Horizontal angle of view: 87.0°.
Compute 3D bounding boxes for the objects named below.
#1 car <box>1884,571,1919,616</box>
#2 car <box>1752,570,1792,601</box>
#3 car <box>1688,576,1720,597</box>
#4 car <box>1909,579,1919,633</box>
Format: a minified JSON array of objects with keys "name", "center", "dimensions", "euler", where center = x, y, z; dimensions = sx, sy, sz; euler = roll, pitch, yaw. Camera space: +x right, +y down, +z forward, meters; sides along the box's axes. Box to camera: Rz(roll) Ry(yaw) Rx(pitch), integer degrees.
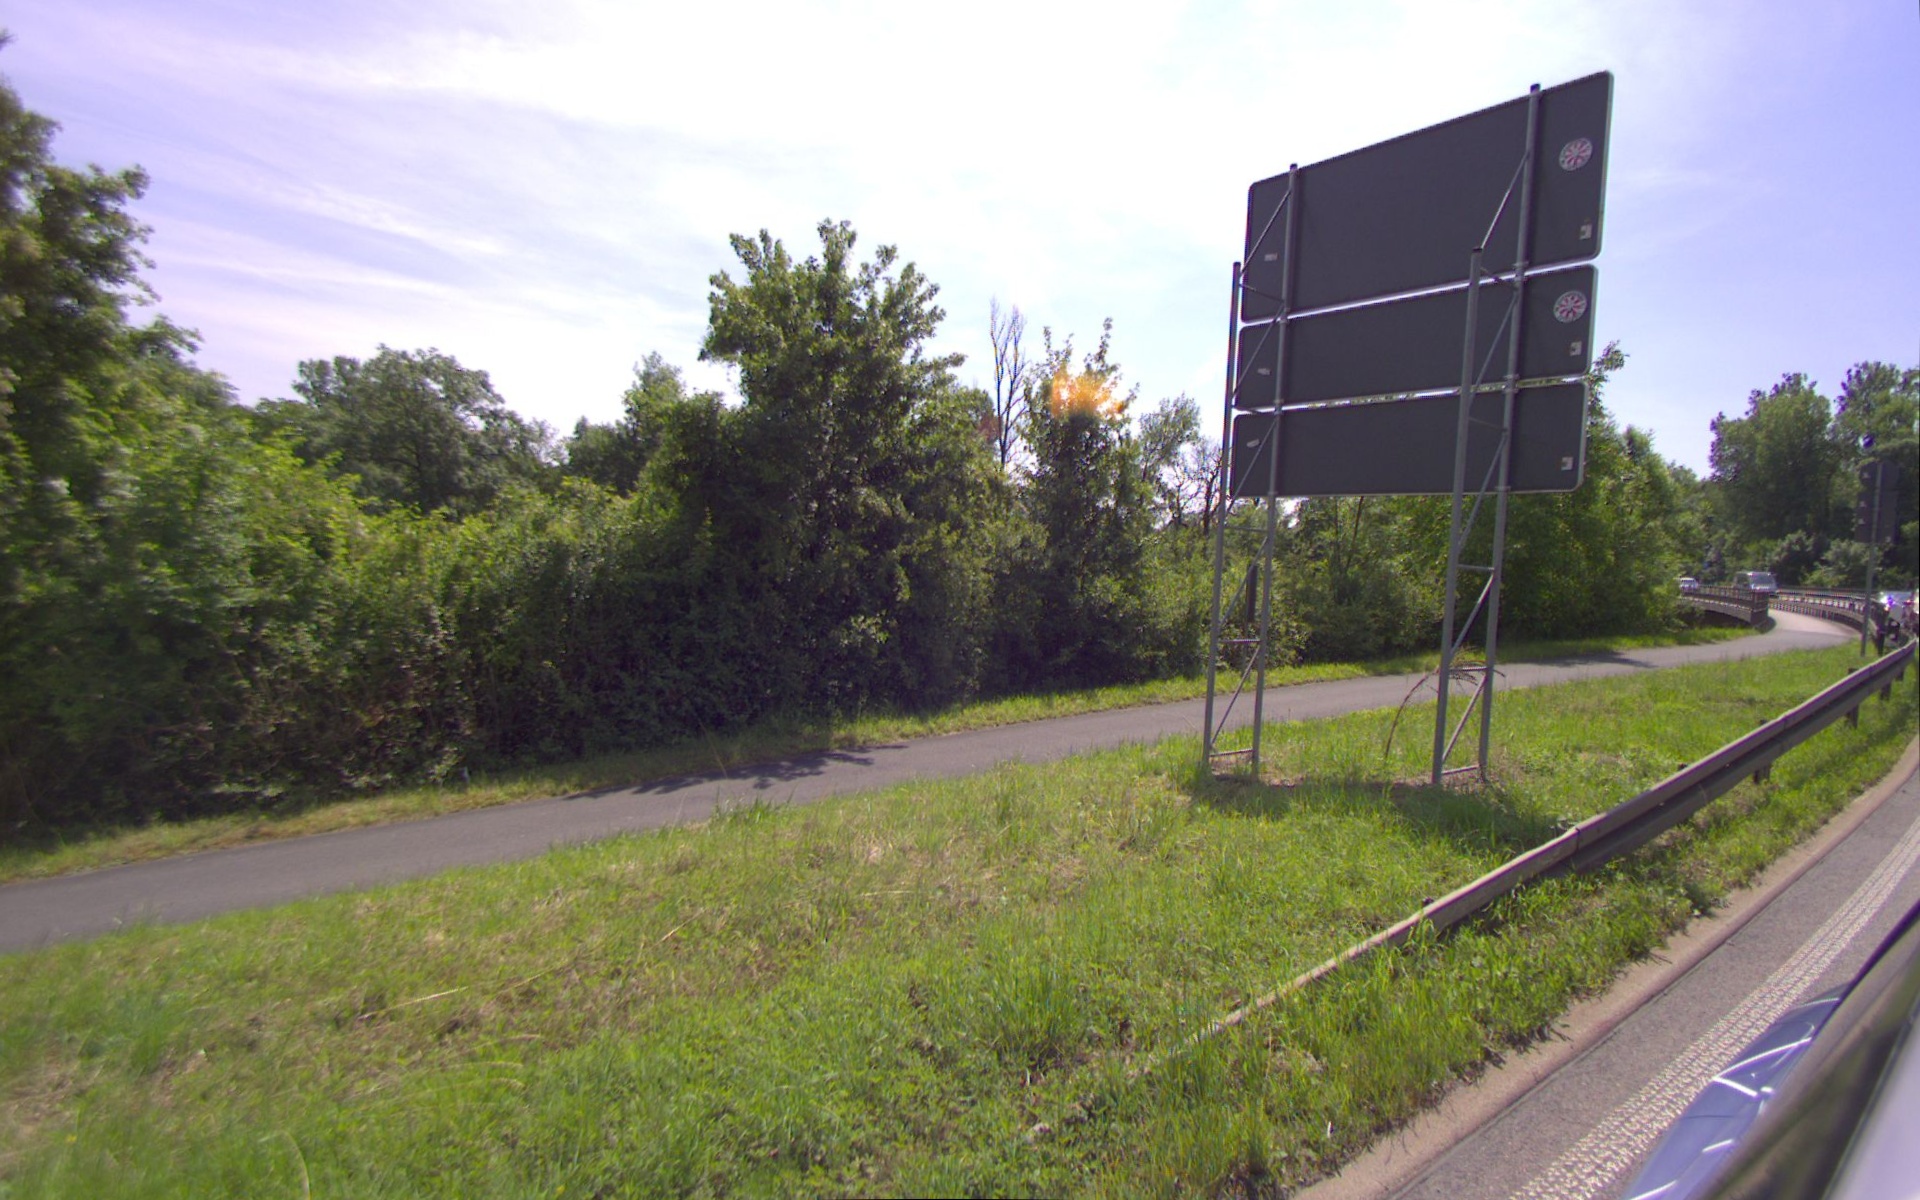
[{"name":"car","center":[46.022,-0.325,48.503],"dimensions":[1.986,2.038,3.952],"euler":[0,1,34]},{"name":"car","center":[68.175,-1.247,85.040],"dimensions":[1.985,2.516,4.805],"euler":[-1,1,32]},{"name":"car","center":[77.584,-1.424,105.608],"dimensions":[1.981,2.038,4.670],"euler":[-1,1,27]},{"name":"car","center":[33.954,0.200,34.586],"dimensions":[1.992,1.797,3.941],"euler":[2,1,41]}]
